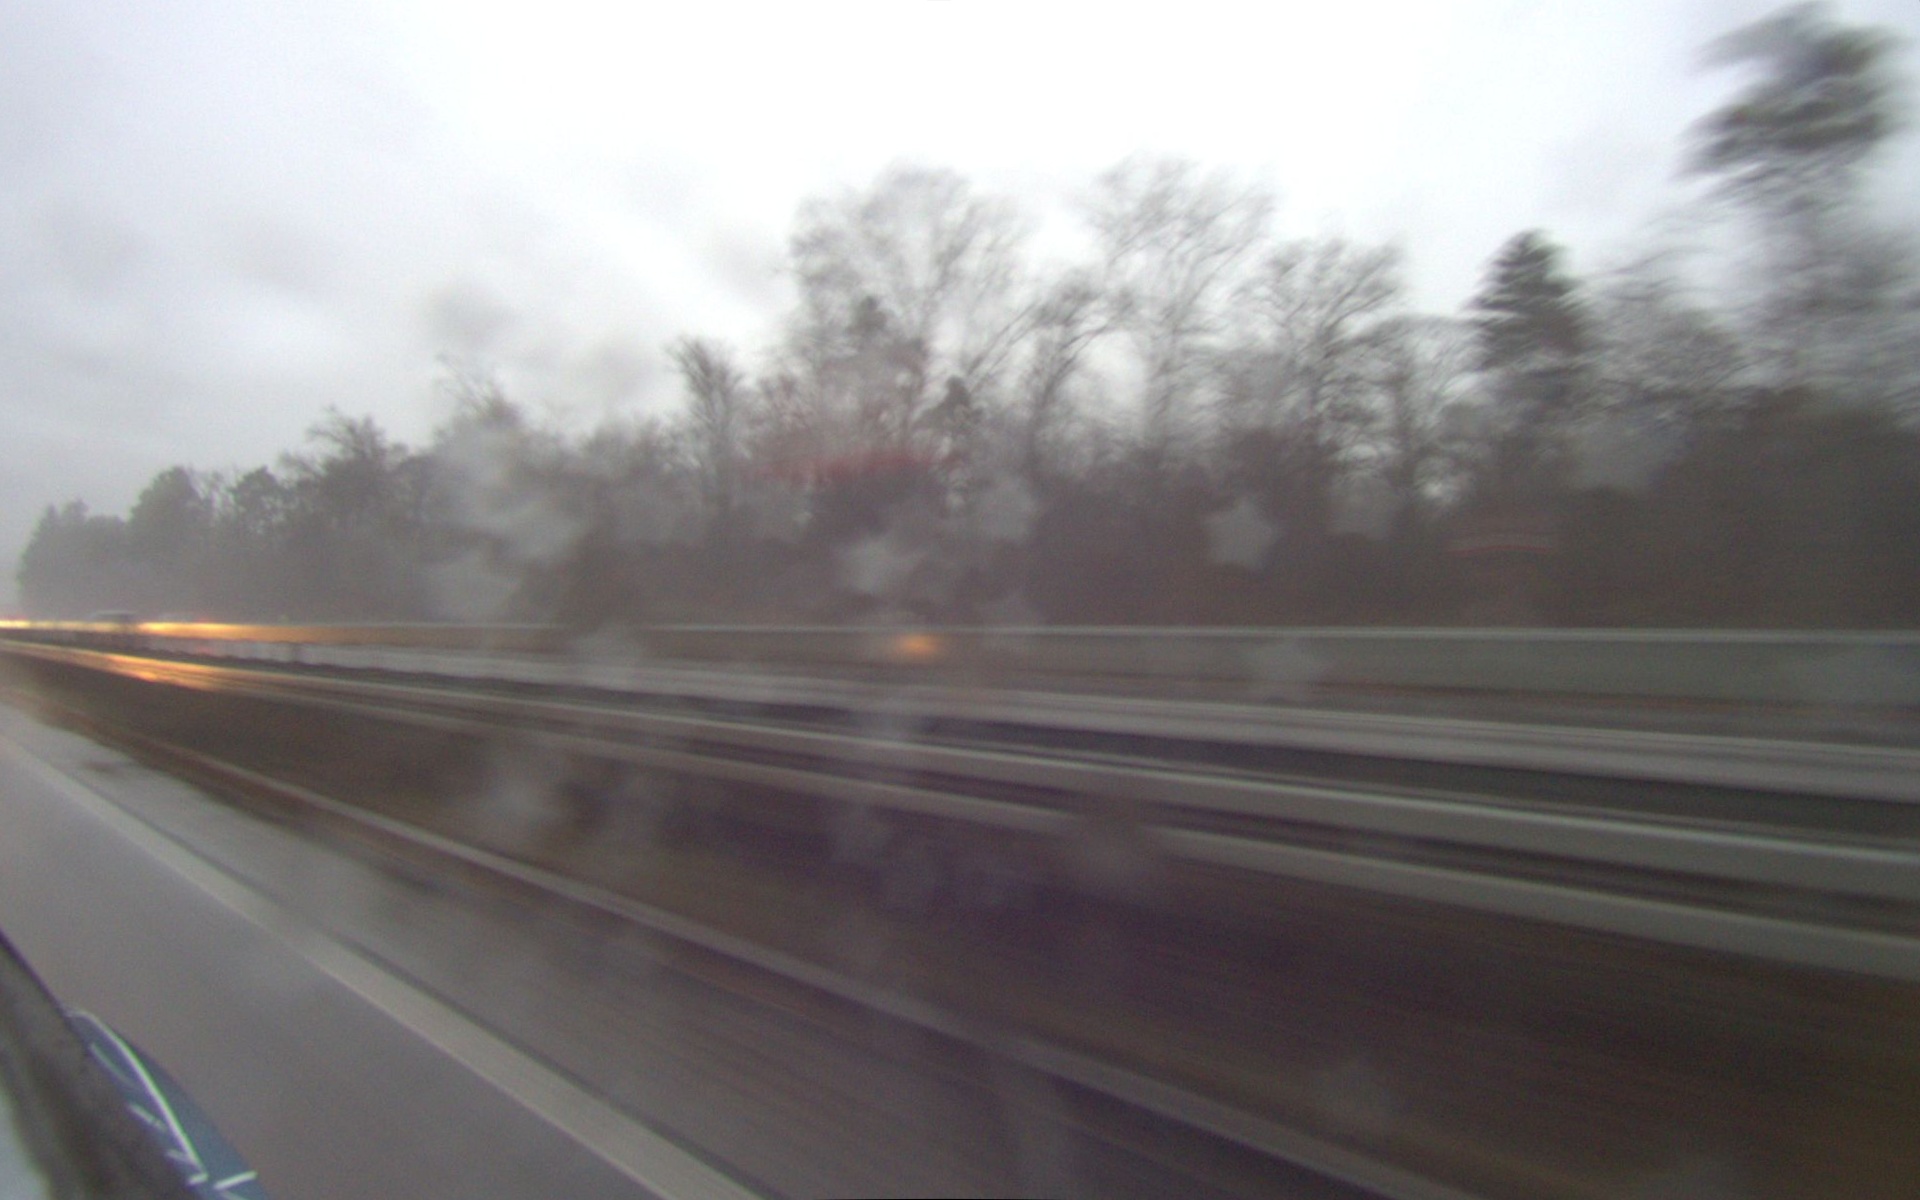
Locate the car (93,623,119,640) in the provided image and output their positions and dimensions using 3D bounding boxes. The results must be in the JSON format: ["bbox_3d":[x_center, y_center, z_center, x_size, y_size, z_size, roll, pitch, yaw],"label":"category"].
[{"bbox_3d":[-77.248,2.807,91.528,1.510,1.427,3.755,0,0,-44],"label":"car"}]

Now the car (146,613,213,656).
[{"bbox_3d":[-36.283,1.594,47.019,3.997,1.896,1.660,-1,-1,41],"label":"car"}]

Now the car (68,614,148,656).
[{"bbox_3d":[-33.673,1.365,39.960,4.527,1.561,1.814,-2,-1,42],"label":"car"}]
